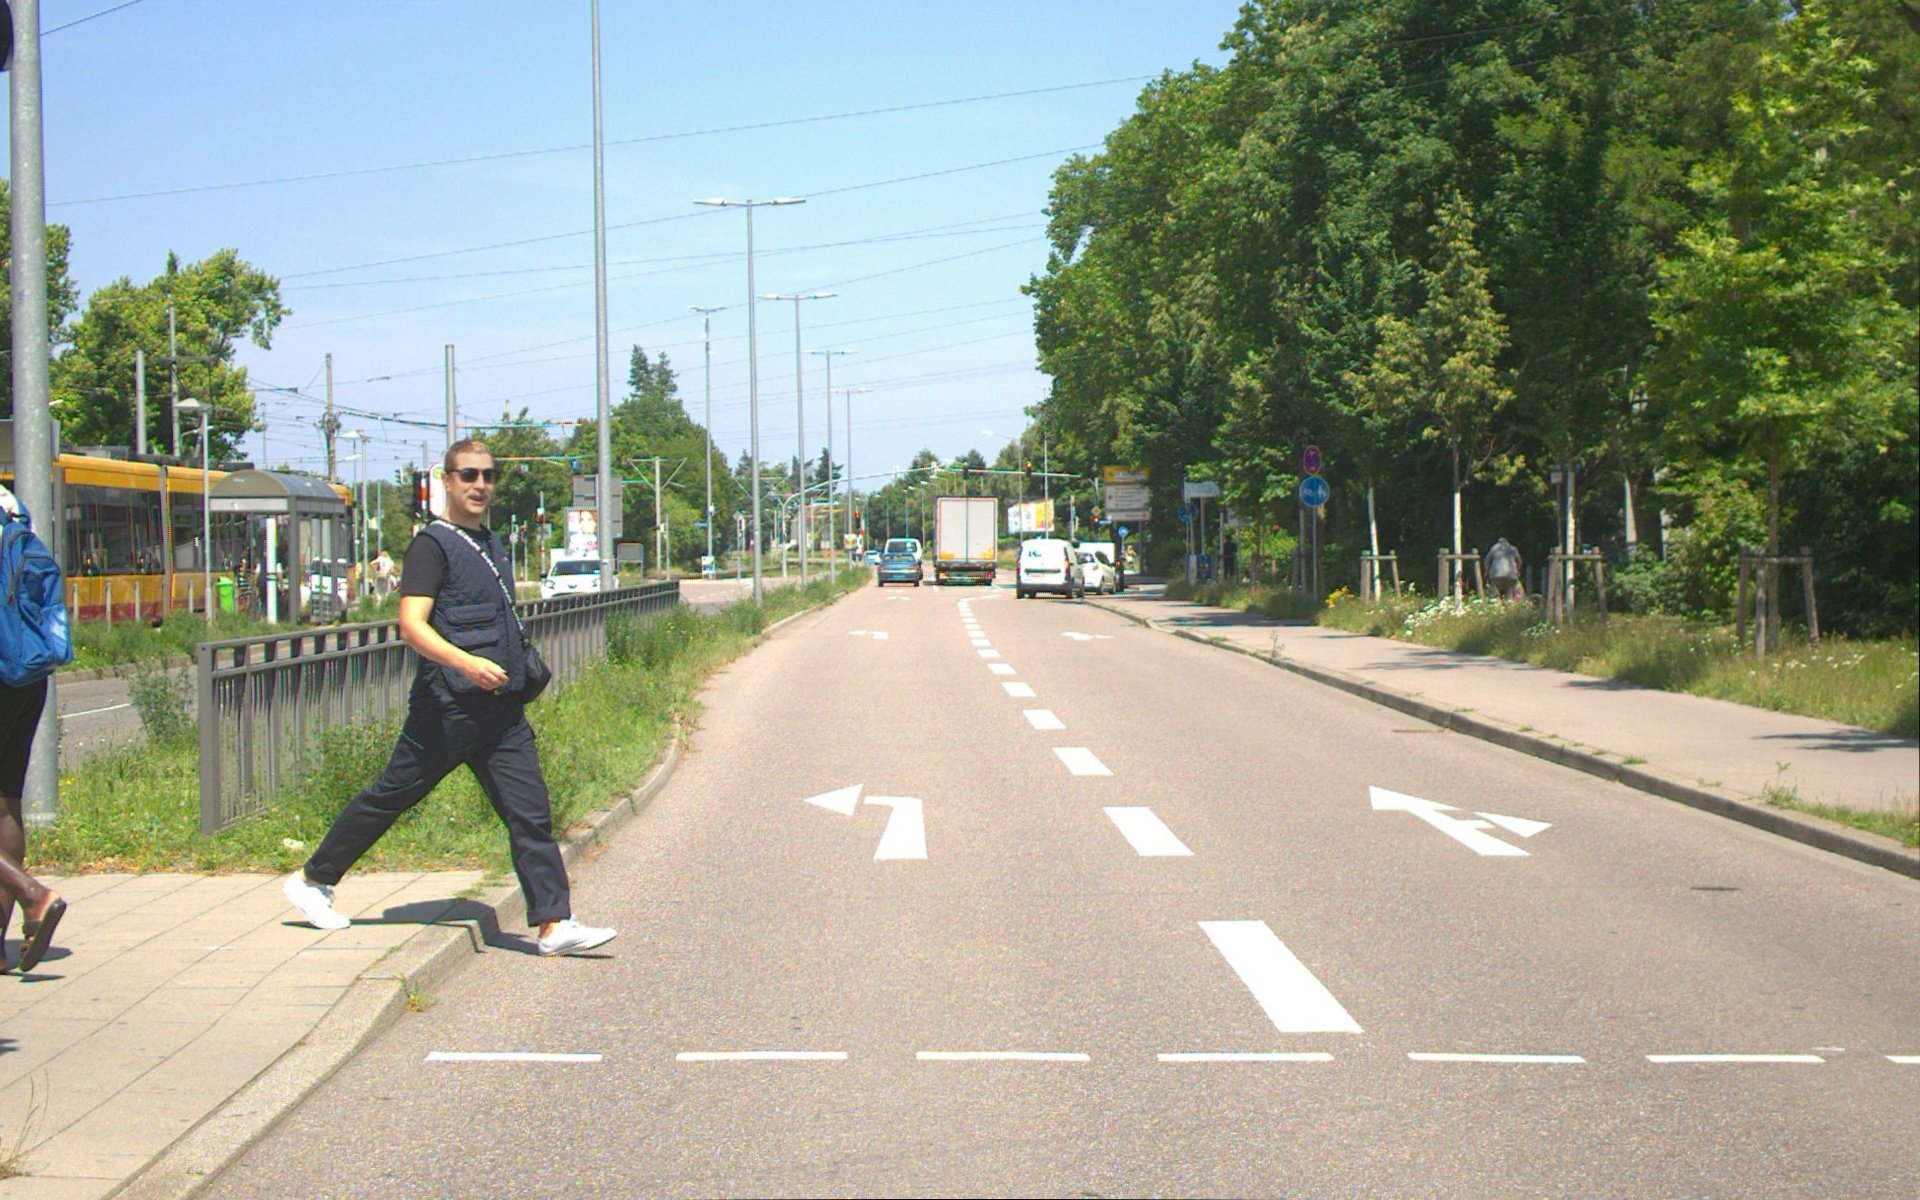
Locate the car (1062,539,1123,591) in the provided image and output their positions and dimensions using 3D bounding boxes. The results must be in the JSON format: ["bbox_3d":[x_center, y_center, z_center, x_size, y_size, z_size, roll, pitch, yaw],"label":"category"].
[{"bbox_3d":[4.305,-1.172,112.460,1.779,1.663,4.000,0,1,-1],"label":"car"}]

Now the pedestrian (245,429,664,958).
[{"bbox_3d":[-1.786,0.314,12.178,1.187,1.772,0.838,0,-1,30],"label":"pedestrian"}]

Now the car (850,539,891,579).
[{"bbox_3d":[-4.538,-2.108,175.182,1.993,2.007,4.000,0,1,-1],"label":"car"}]

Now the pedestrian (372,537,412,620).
[{"bbox_3d":[-13.814,-0.521,83.672,0.815,2.007,0.938,0,1,-1],"label":"pedestrian"}]

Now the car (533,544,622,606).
[{"bbox_3d":[-9.616,-0.650,86.711,1.845,1.489,3.791,0,1,-1],"label":"car"}]

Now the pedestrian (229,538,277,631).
[{"bbox_3d":[-14.256,-0.312,69.320,0.785,1.862,0.817,0,1,-1],"label":"pedestrian"}]

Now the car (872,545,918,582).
[{"bbox_3d":[-2.652,-1.516,140.895,1.811,1.459,4.000,0,1,-1],"label":"car"}]

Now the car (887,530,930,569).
[{"bbox_3d":[-2.448,-2.394,163.468,1.993,1.809,4.000,1,1,-1],"label":"car"}]

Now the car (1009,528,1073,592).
[{"bbox_3d":[2.438,-1.240,104.517,1.779,1.897,4.000,0,1,-1],"label":"car"}]

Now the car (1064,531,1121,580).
[{"bbox_3d":[4.555,-1.538,118.803,1.779,1.663,4.000,0,1,-1],"label":"car"}]

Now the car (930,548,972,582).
[{"bbox_3d":[-0.421,-1.586,153.633,1.811,1.459,4.000,0,1,-1],"label":"car"}]

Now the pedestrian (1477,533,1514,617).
[{"bbox_3d":[9.226,-0.431,59.245,0.604,1.433,0.556,0,1,7],"label":"pedestrian"}]

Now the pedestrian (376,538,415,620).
[{"bbox_3d":[-13.915,-0.533,84.761,0.815,2.007,0.938,0,1,-1],"label":"pedestrian"}]

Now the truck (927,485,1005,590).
[{"bbox_3d":[0.224,-2.661,146.125,3.205,4.344,6.561,0,1,-1],"label":"truck"}]

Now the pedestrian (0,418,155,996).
[{"bbox_3d":[-3.052,0.311,10.897,0.840,1.771,0.720,1,3,-1],"label":"pedestrian"}]

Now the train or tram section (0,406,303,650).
[{"bbox_3d":[-16.362,-1.254,61.621,2.931,3.776,33.089,0,1,0],"label":"train or tram section"}]
